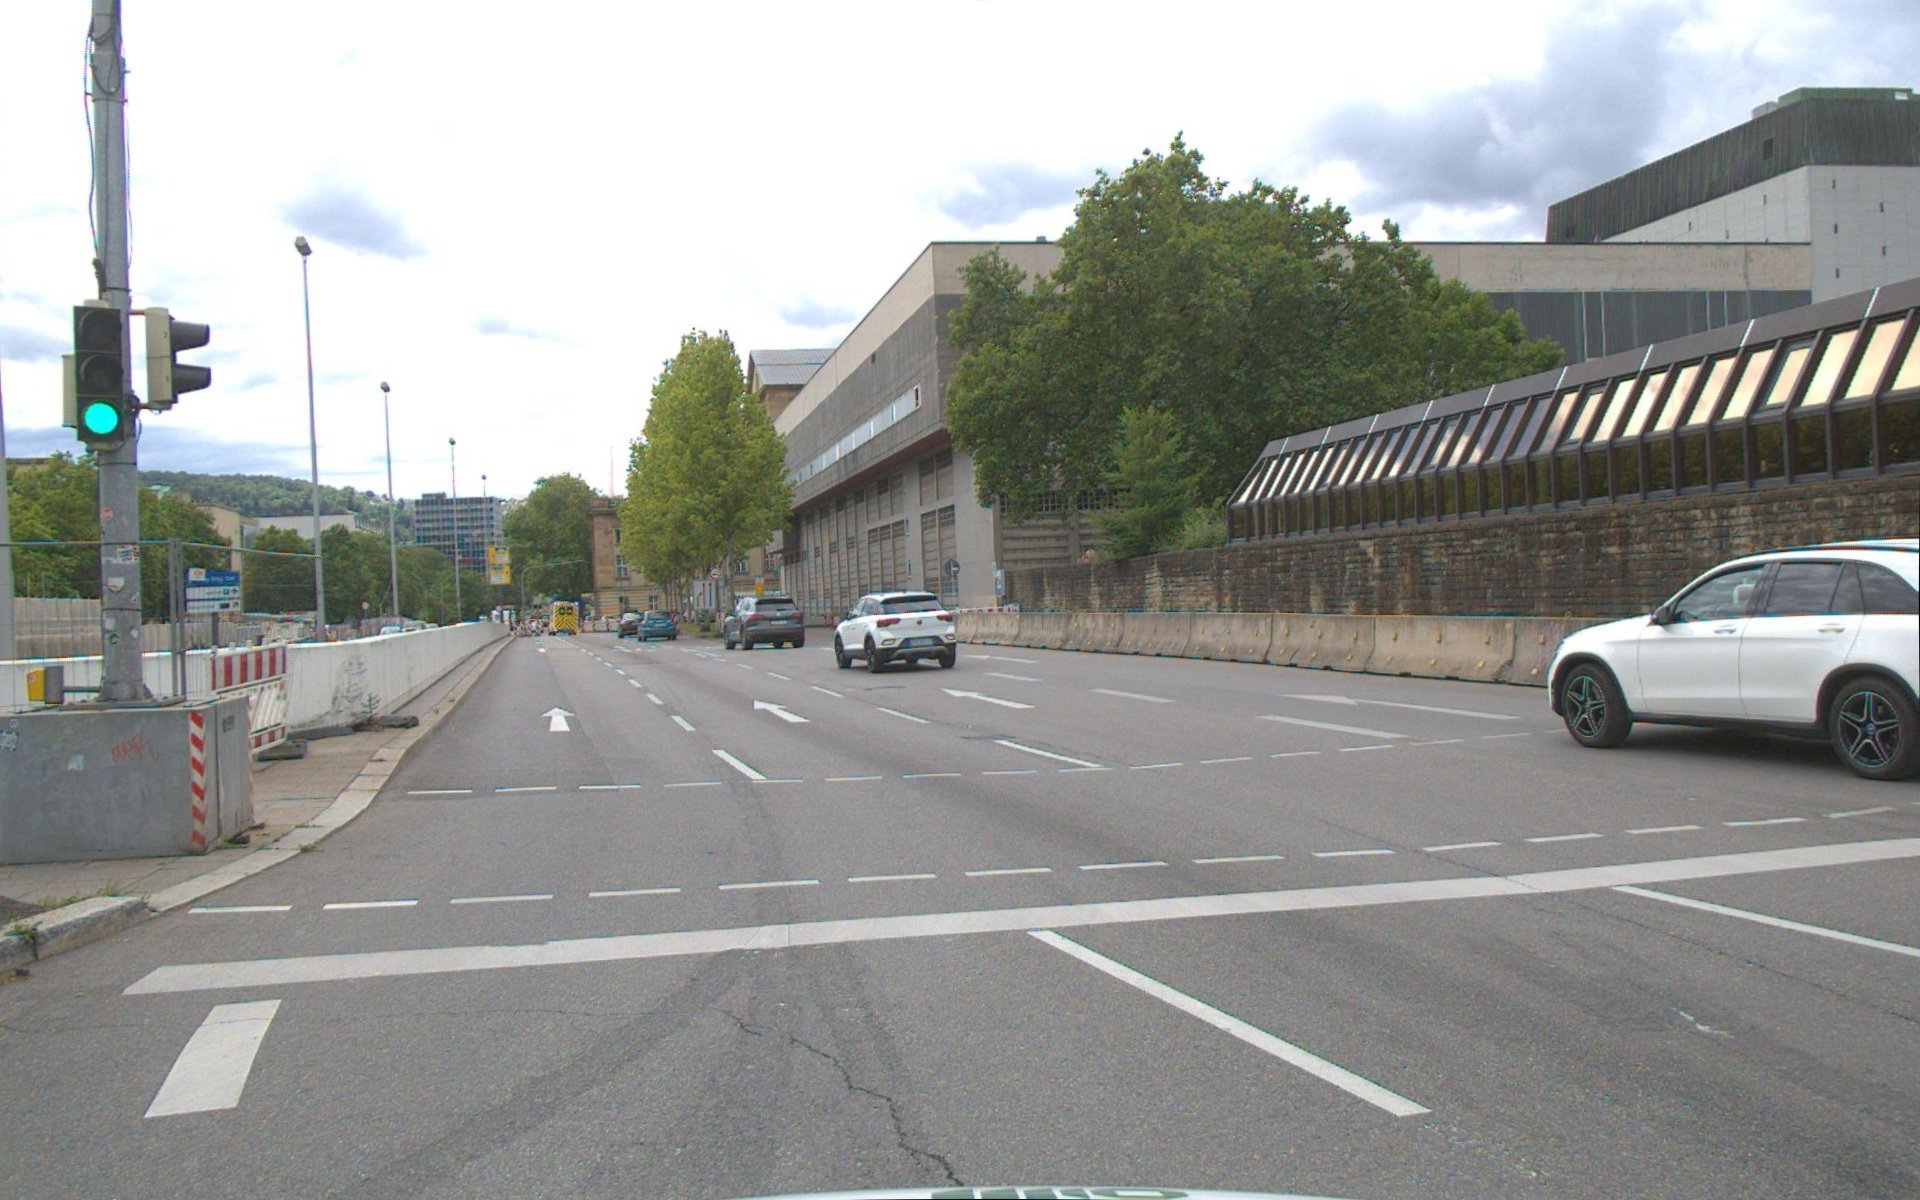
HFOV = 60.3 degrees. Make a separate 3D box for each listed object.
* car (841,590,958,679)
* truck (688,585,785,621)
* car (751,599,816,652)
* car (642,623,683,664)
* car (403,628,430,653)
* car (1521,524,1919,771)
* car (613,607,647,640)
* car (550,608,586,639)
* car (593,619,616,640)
[{"bbox_3d":[-1.338,0.655,34.603,1.720,1.594,4.320,-4,1,-11],"label":"car"},{"bbox_3d":[-23.751,0.311,175.721,9.862,3.104,2.559,-3,-1,-14],"label":"truck"},{"bbox_3d":[-5.680,0.846,53.610,1.787,1.595,4.476,-2,-2,-3],"label":"car"},{"bbox_3d":[-14.502,2.097,80.742,1.790,1.771,4.469,-4,0,-10],"label":"car"},{"bbox_3d":[-47.981,3.561,146.056,1.961,2.048,3.984,-3,1,-15],"label":"car"},{"bbox_3d":[6.769,0.313,13.173,1.787,1.671,4.522,-5,0,-21],"label":"car"},{"bbox_3d":[-19.685,1.390,98.777,1.790,1.771,4.469,-4,0,-10],"label":"car"},{"bbox_3d":[-33.621,2.008,142.043,2.536,2.415,5.512,-4,0,-10],"label":"car"},{"bbox_3d":[-33.169,2.717,154.272,1.790,1.771,4.469,-4,0,-10],"label":"car"}]
